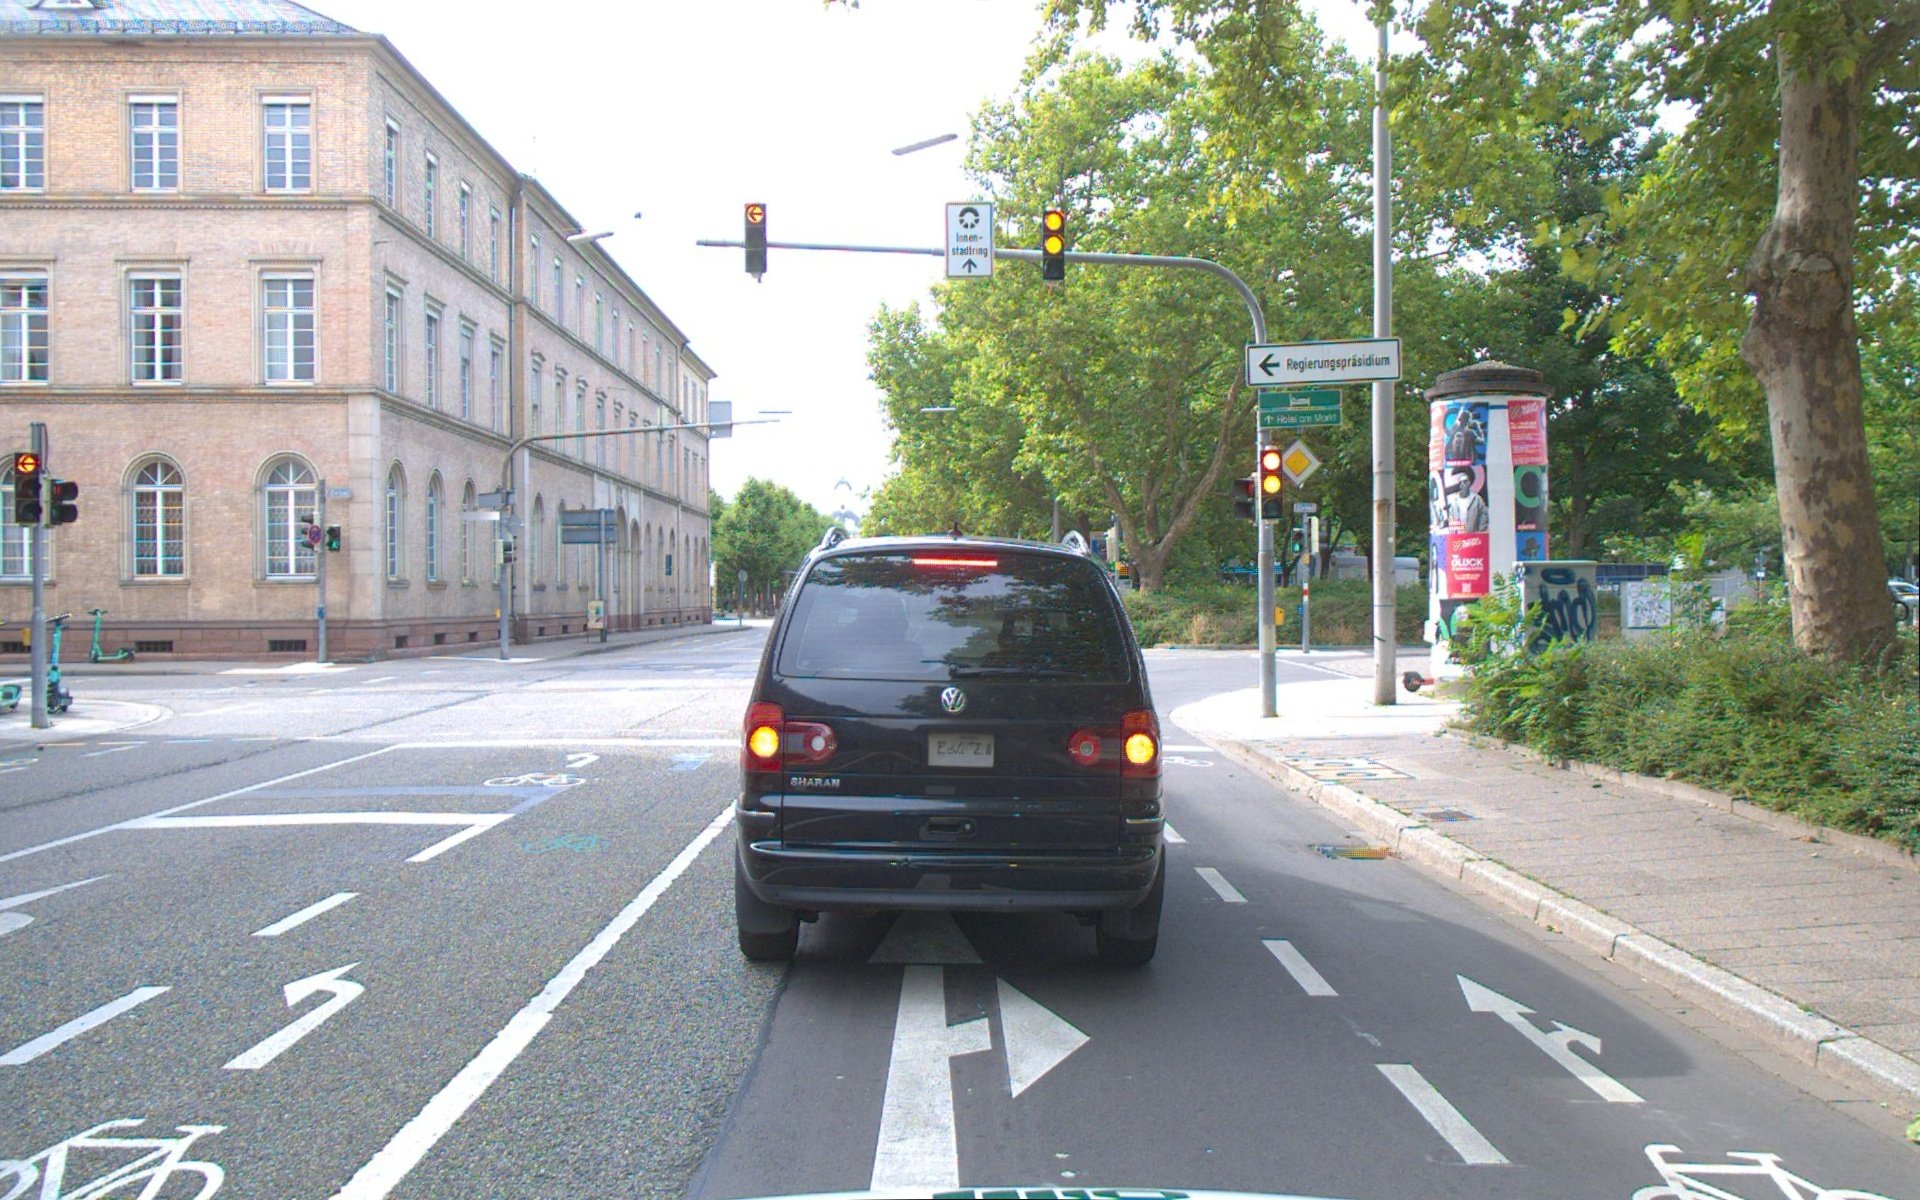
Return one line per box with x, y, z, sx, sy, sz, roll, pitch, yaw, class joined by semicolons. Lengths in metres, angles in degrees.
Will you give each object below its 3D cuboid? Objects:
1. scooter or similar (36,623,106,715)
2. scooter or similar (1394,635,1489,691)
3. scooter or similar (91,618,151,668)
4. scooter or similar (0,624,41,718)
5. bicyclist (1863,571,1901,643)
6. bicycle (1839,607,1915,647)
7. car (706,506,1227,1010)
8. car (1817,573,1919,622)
-11.635;0.889;21.676;0.370;1.164;1.141;0;-1;-4;scooter or similar
6.605;0.862;22.711;1.194;0.749;0.369;-1;0;-2;scooter or similar
-18.454;0.949;36.389;1.115;1.068;0.379;-1;-1;-1;scooter or similar
-12.207;0.897;21.122;0.370;1.167;1.141;0;-1;-4;scooter or similar
21.216;0.158;38.052;0.557;1.646;0.535;-1;0;-1;bicyclist
21.102;0.623;38.056;1.440;0.900;0.555;-1;0;-1;bicycle
0.048;0.542;8.148;1.835;1.775;4.574;0;0;1;car
32.423;-0.103;58.524;1.922;1.680;4.151;-1;0;-3;car
